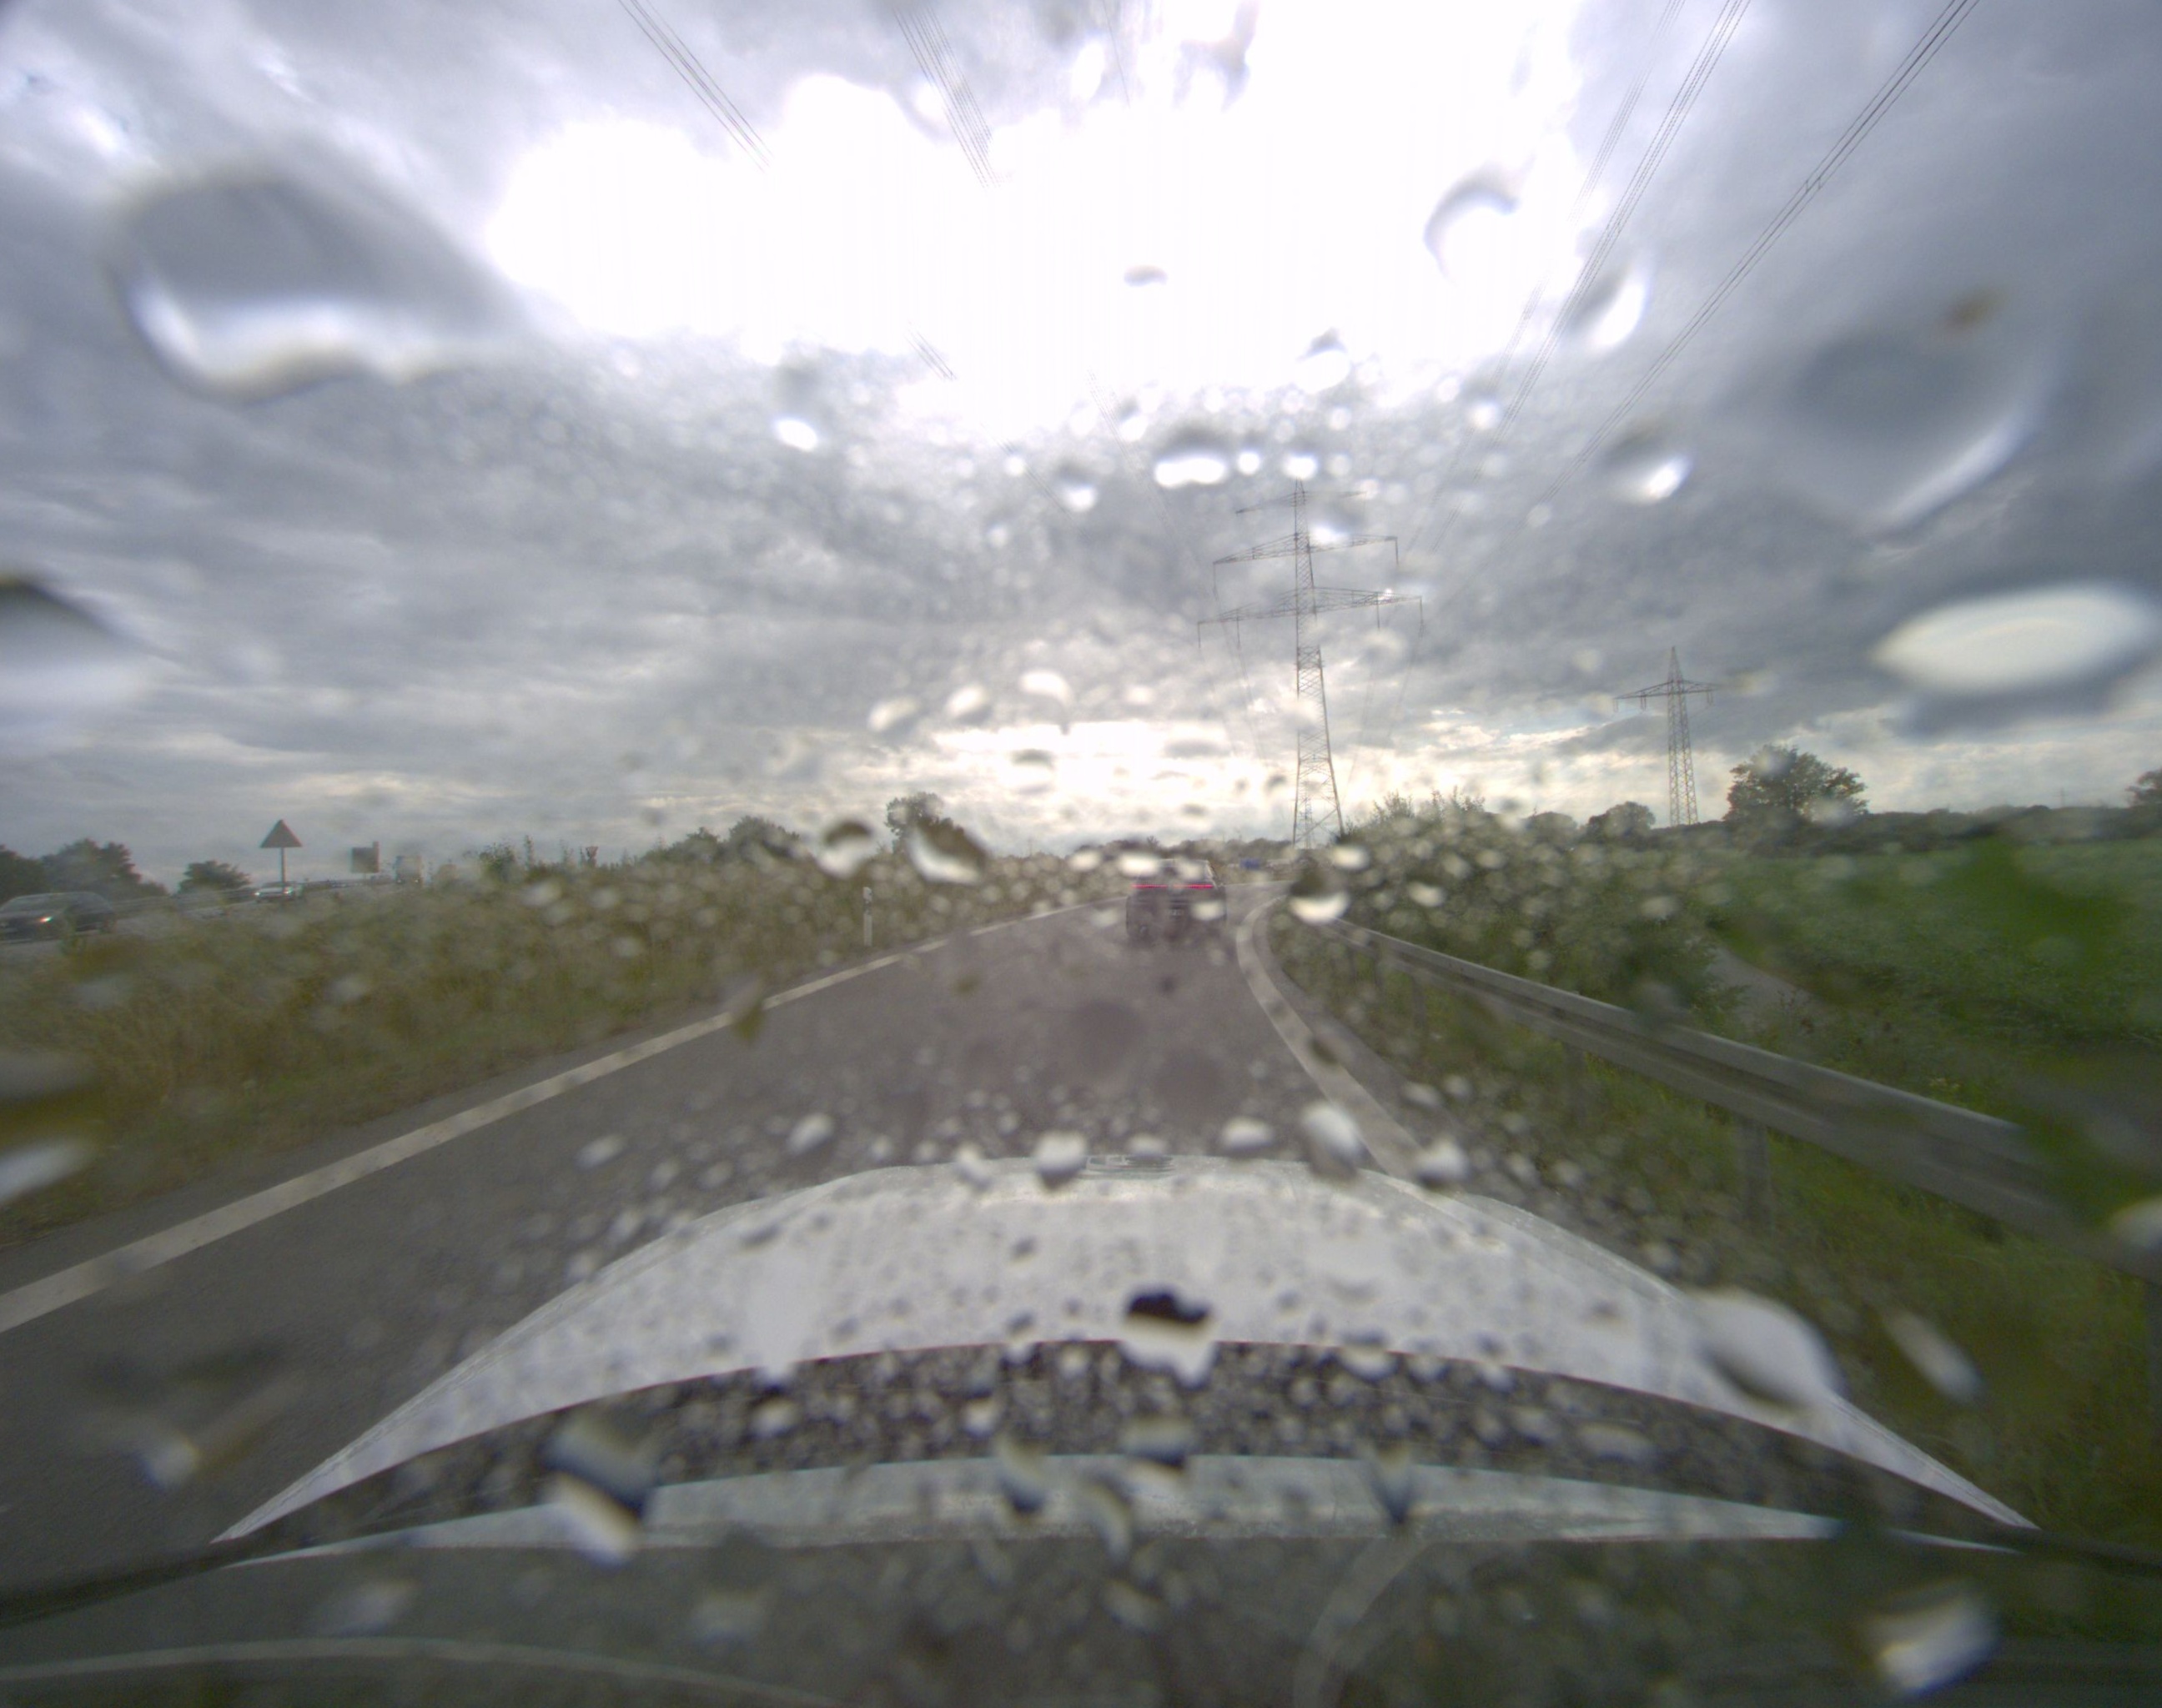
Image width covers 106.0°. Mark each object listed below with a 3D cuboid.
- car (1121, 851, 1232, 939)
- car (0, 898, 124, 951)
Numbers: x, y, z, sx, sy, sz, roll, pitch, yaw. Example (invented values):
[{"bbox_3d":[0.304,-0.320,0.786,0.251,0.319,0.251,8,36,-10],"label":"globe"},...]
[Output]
[{"bbox_3d":[2.134,0.741,17.117,1.981,1.566,4.162,1,0,11],"label":"car"},{"bbox_3d":[-31.979,2.163,25.432,1.484,1.350,3.680,-1,0,-29],"label":"car"}]
